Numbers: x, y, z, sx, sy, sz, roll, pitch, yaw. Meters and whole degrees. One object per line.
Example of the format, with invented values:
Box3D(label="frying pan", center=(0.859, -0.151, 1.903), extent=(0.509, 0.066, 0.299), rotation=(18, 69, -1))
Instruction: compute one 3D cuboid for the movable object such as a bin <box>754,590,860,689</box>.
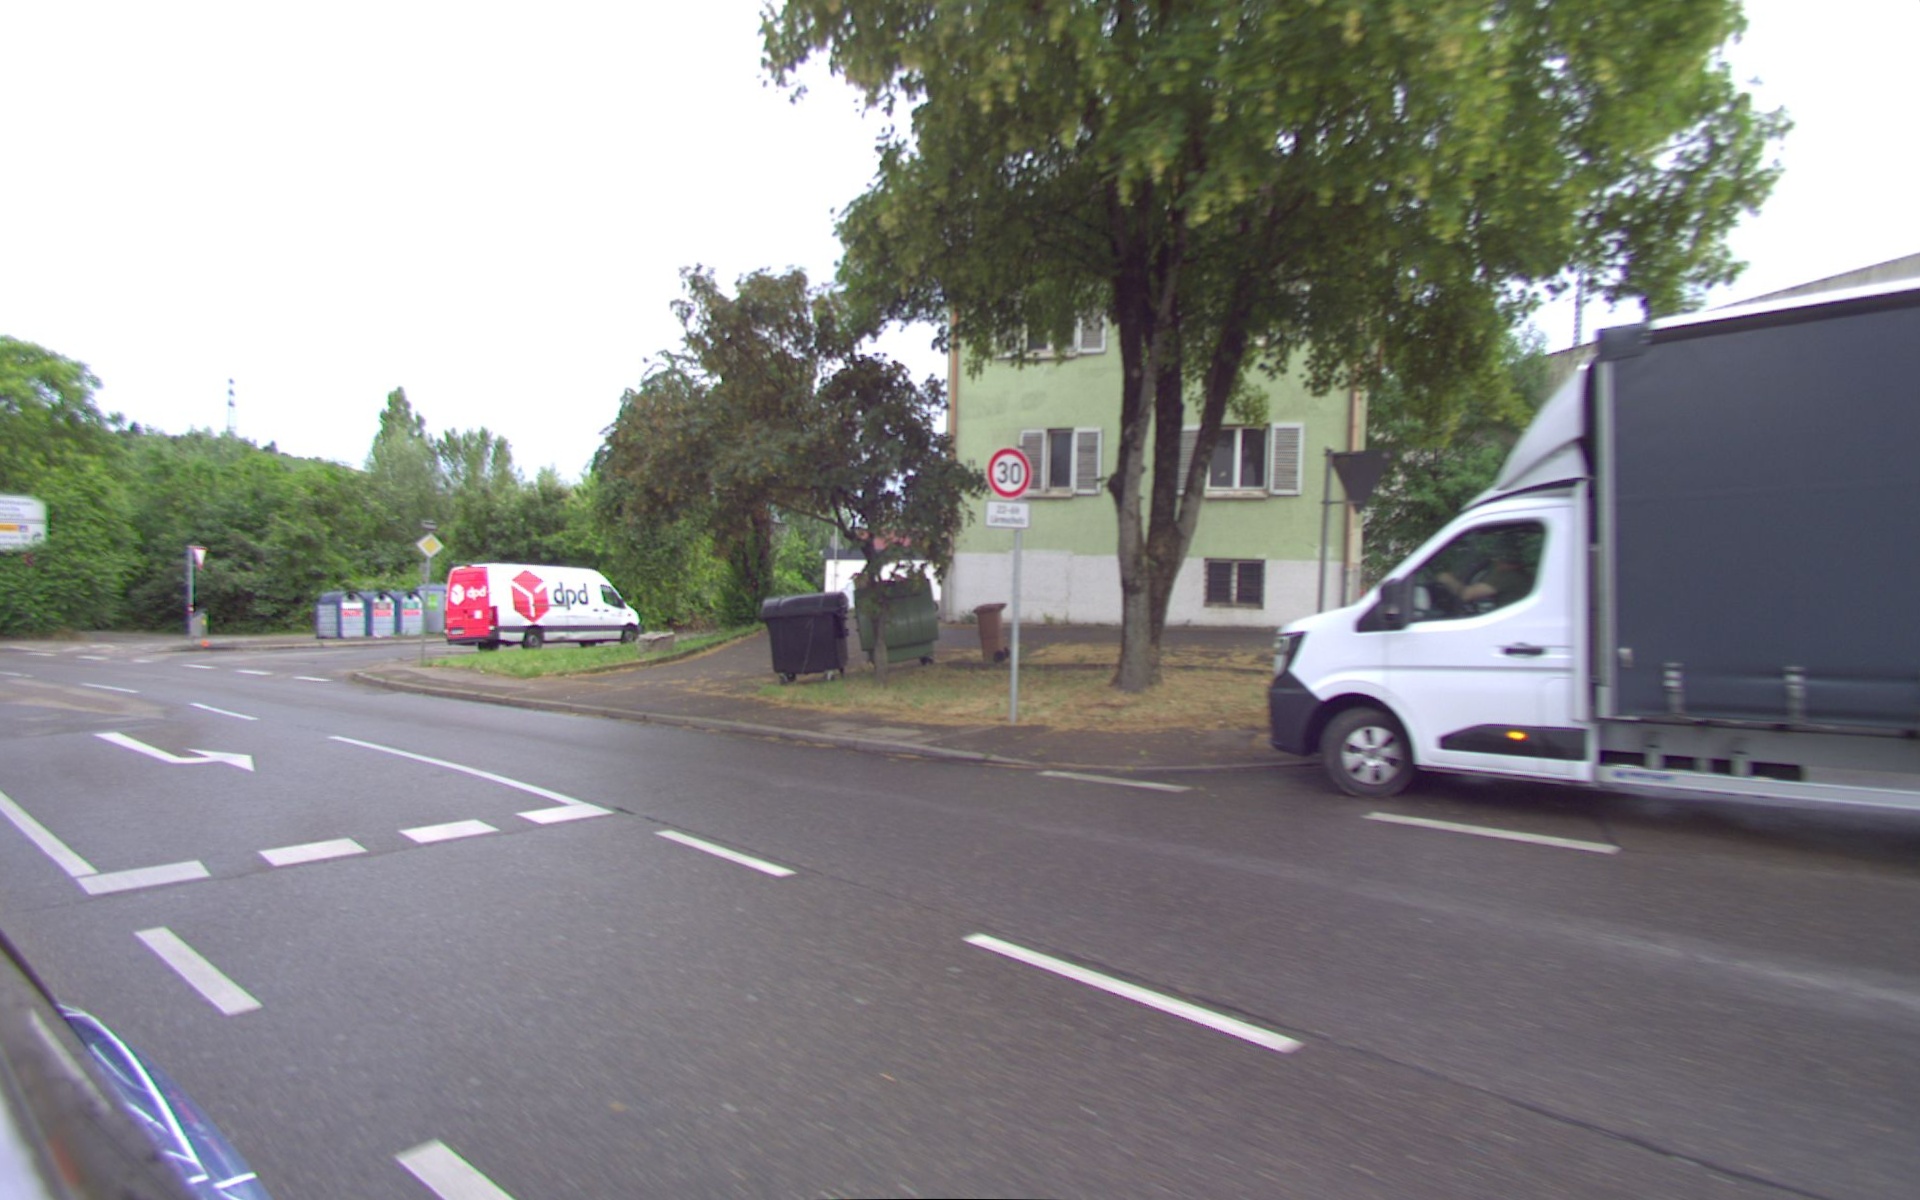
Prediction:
Box3D(label="movable object such as a bin", center=(-2.460, 0.614, 16.515), extent=(1.359, 1.452, 1.471), rotation=(-4, 0, 3))

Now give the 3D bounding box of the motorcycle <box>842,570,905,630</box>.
Box3D(label="motorcycle", center=(-1.886, -0.024, 22.164), extent=(0.431, 1.205, 1.463), rotation=(3, 6, 41))

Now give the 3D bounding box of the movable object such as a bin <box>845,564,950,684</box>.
Box3D(label="movable object such as a bin", center=(-0.975, 0.376, 16.454), extent=(1.435, 1.774, 1.576), rotation=(-4, 0, 3))

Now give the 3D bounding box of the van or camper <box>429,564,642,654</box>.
Box3D(label="van or camper", center=(-13.100, 0.252, 31.871), extent=(2.207, 2.541, 6.649), rotation=(-1, 0, 21))

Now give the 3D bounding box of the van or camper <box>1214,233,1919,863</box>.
Box3D(label="van or camper", center=(5.825, -0.284, 6.572), extent=(7.760, 3.360, 2.669), rotation=(-1, 0, 42))

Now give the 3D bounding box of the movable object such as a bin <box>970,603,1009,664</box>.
Box3D(label="movable object such as a bin", center=(0.481, 0.528, 16.231), extent=(0.555, 0.917, 0.541), rotation=(-4, 0, 3))

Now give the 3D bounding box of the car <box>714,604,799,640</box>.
Box3D(label="car", center=(-9.278, 0.988, 46.479), extent=(1.986, 1.541, 4.041), rotation=(-1, 0, 21))
